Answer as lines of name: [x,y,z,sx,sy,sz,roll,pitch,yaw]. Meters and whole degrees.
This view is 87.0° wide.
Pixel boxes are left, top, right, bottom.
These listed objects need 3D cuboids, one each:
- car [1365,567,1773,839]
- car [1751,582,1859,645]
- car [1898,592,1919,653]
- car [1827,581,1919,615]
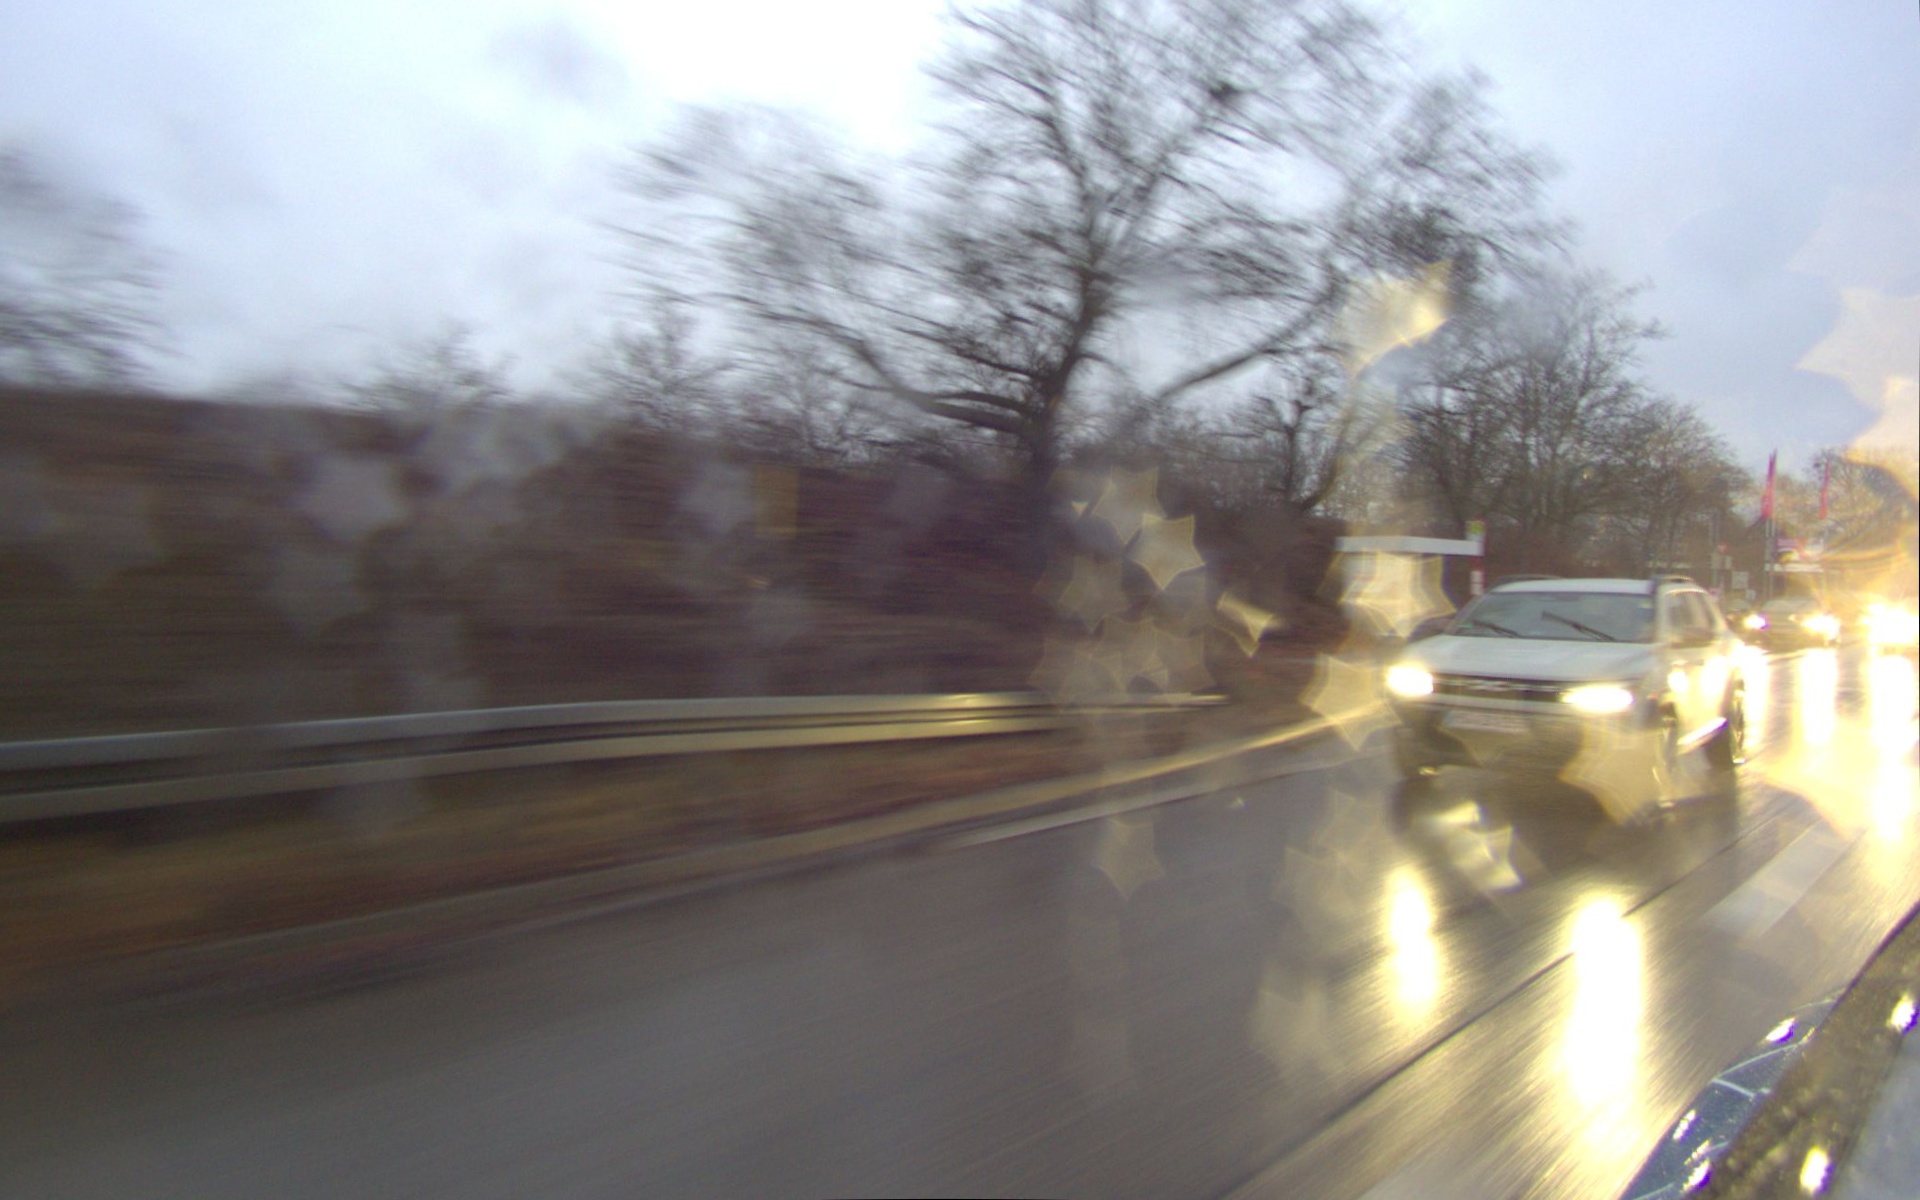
car: [5.142,0.558,8.260,4.339,1.638,1.817,-1,2,-44]
car: [24.936,0.330,29.825,4.473,1.639,1.969,-1,3,-44]
car: [25.095,0.541,25.528,4.677,1.393,1.878,-2,2,-44]
car: [39.102,-0.125,43.238,1.615,1.325,3.980,1,2,16]
